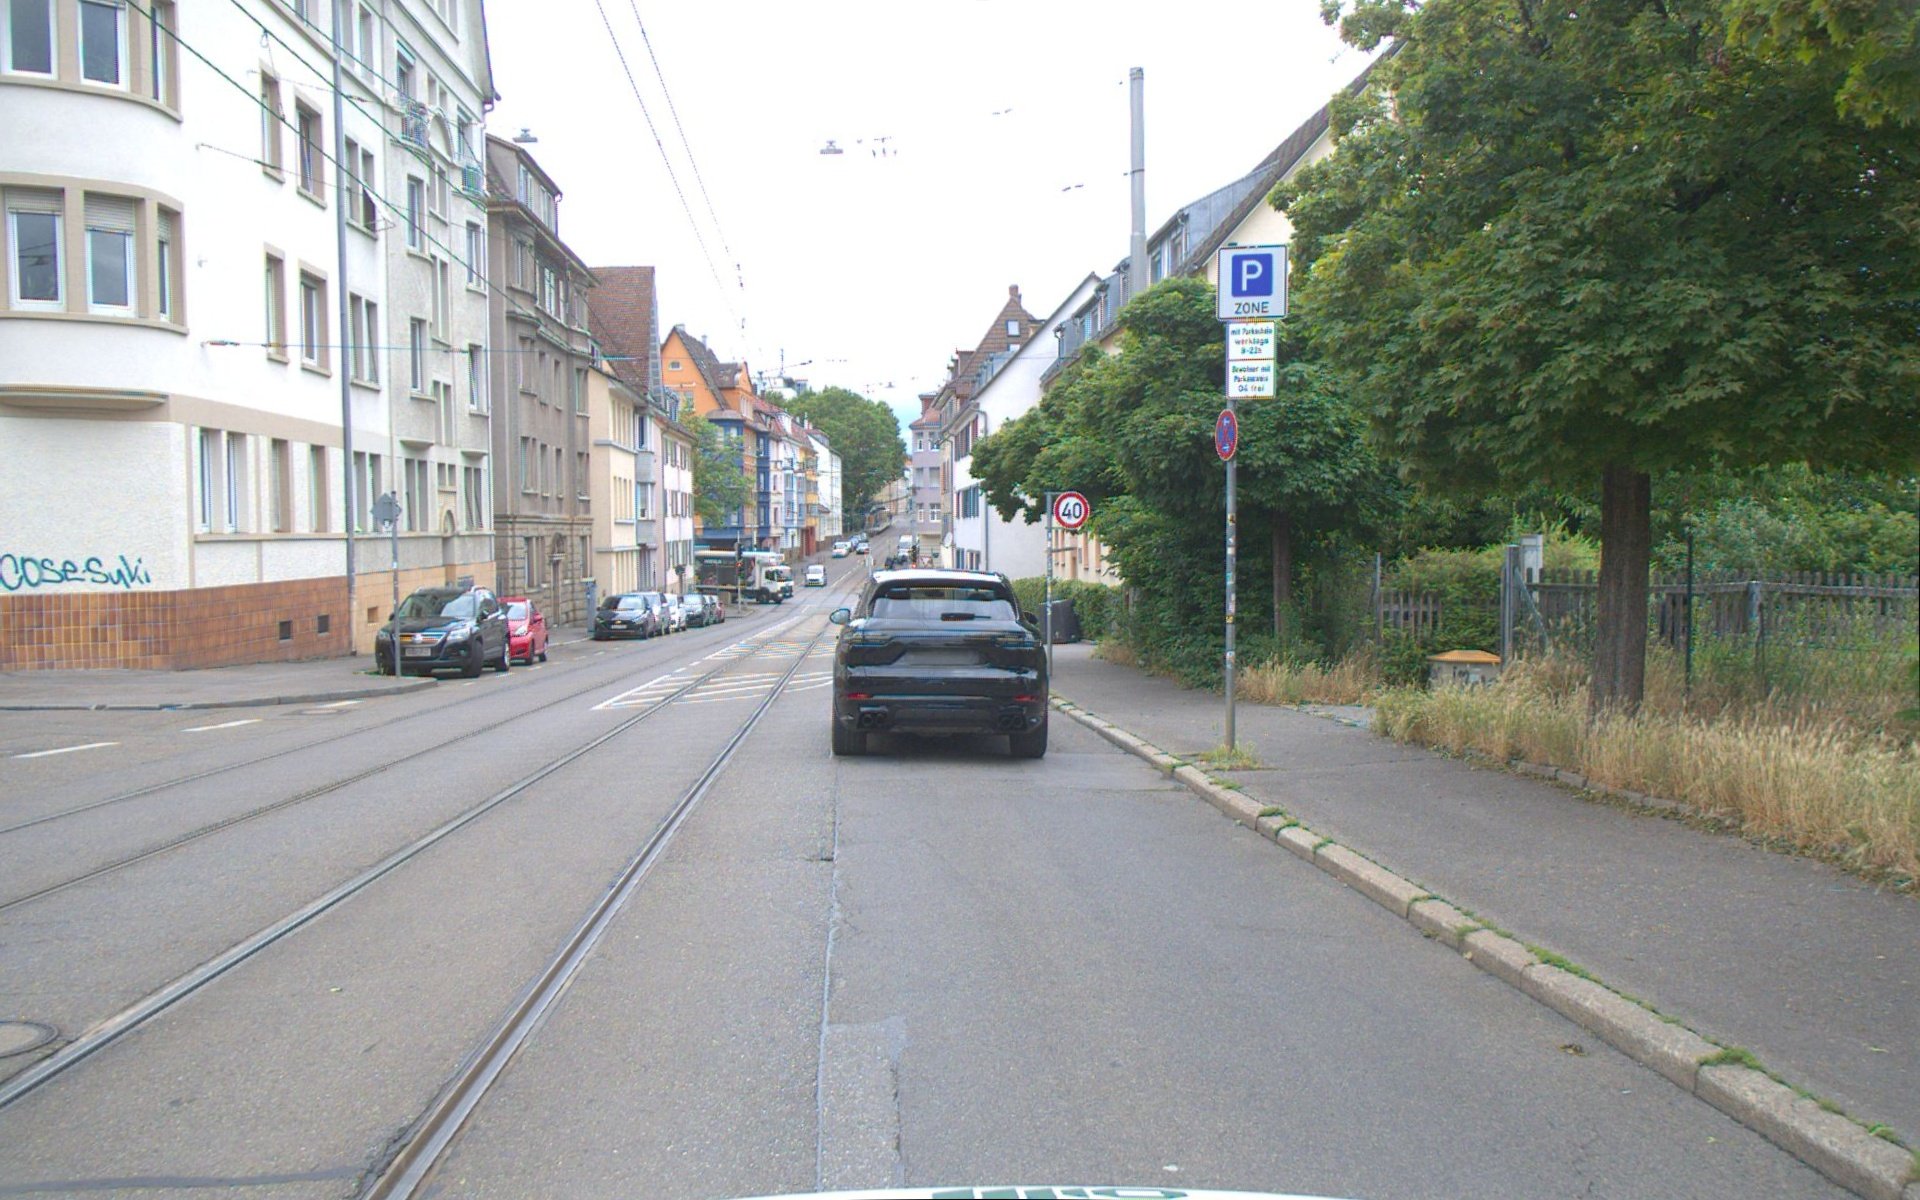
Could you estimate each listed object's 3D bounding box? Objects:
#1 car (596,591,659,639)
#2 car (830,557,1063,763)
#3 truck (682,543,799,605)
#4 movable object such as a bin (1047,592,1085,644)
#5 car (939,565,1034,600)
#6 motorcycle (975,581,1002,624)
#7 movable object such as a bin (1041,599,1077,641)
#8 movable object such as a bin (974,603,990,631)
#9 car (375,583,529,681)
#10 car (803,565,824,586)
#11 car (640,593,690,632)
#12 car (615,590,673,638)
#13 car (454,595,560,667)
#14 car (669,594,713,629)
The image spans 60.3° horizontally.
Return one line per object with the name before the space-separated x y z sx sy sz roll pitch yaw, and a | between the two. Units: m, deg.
car | -11.142 0.506 55.630 1.589 1.489 4.029 -2 -1 -5
car | -0.235 0.500 15.982 1.954 1.705 3.997 -1 0 -4
truck | -16.199 -1.875 121.815 8.384 4.255 2.261 -1 -2 18
movable object such as a bin | 2.597 0.430 40.447 0.777 1.239 0.788 -1 0 -7
car | 1.825 -1.188 114.105 6.156 2.330 2.200 -1 0 26
motorcycle | 1.009 0.082 59.337 0.821 1.482 2.551 -1 0 -3
movable object such as a bin | 2.463 0.494 41.209 0.777 1.029 0.788 -1 0 -7
movable object such as a bin | 0.879 0.671 65.847 0.577 1.099 0.691 -1 0 -2
car | -9.502 0.581 31.284 1.831 1.674 4.397 -2 -1 -5
car | -13.434 -2.244 151.897 1.716 1.790 4.251 -1 0 -3
car | -11.847 0.515 66.598 1.589 1.489 3.681 -2 -1 -5
car | -11.514 0.506 60.441 1.589 1.632 4.346 -2 -1 -5
car | -10.072 0.682 37.016 1.589 1.489 3.742 -2 -1 -5
car | -12.103 0.514 74.637 1.589 1.499 4.551 -2 -1 -5
